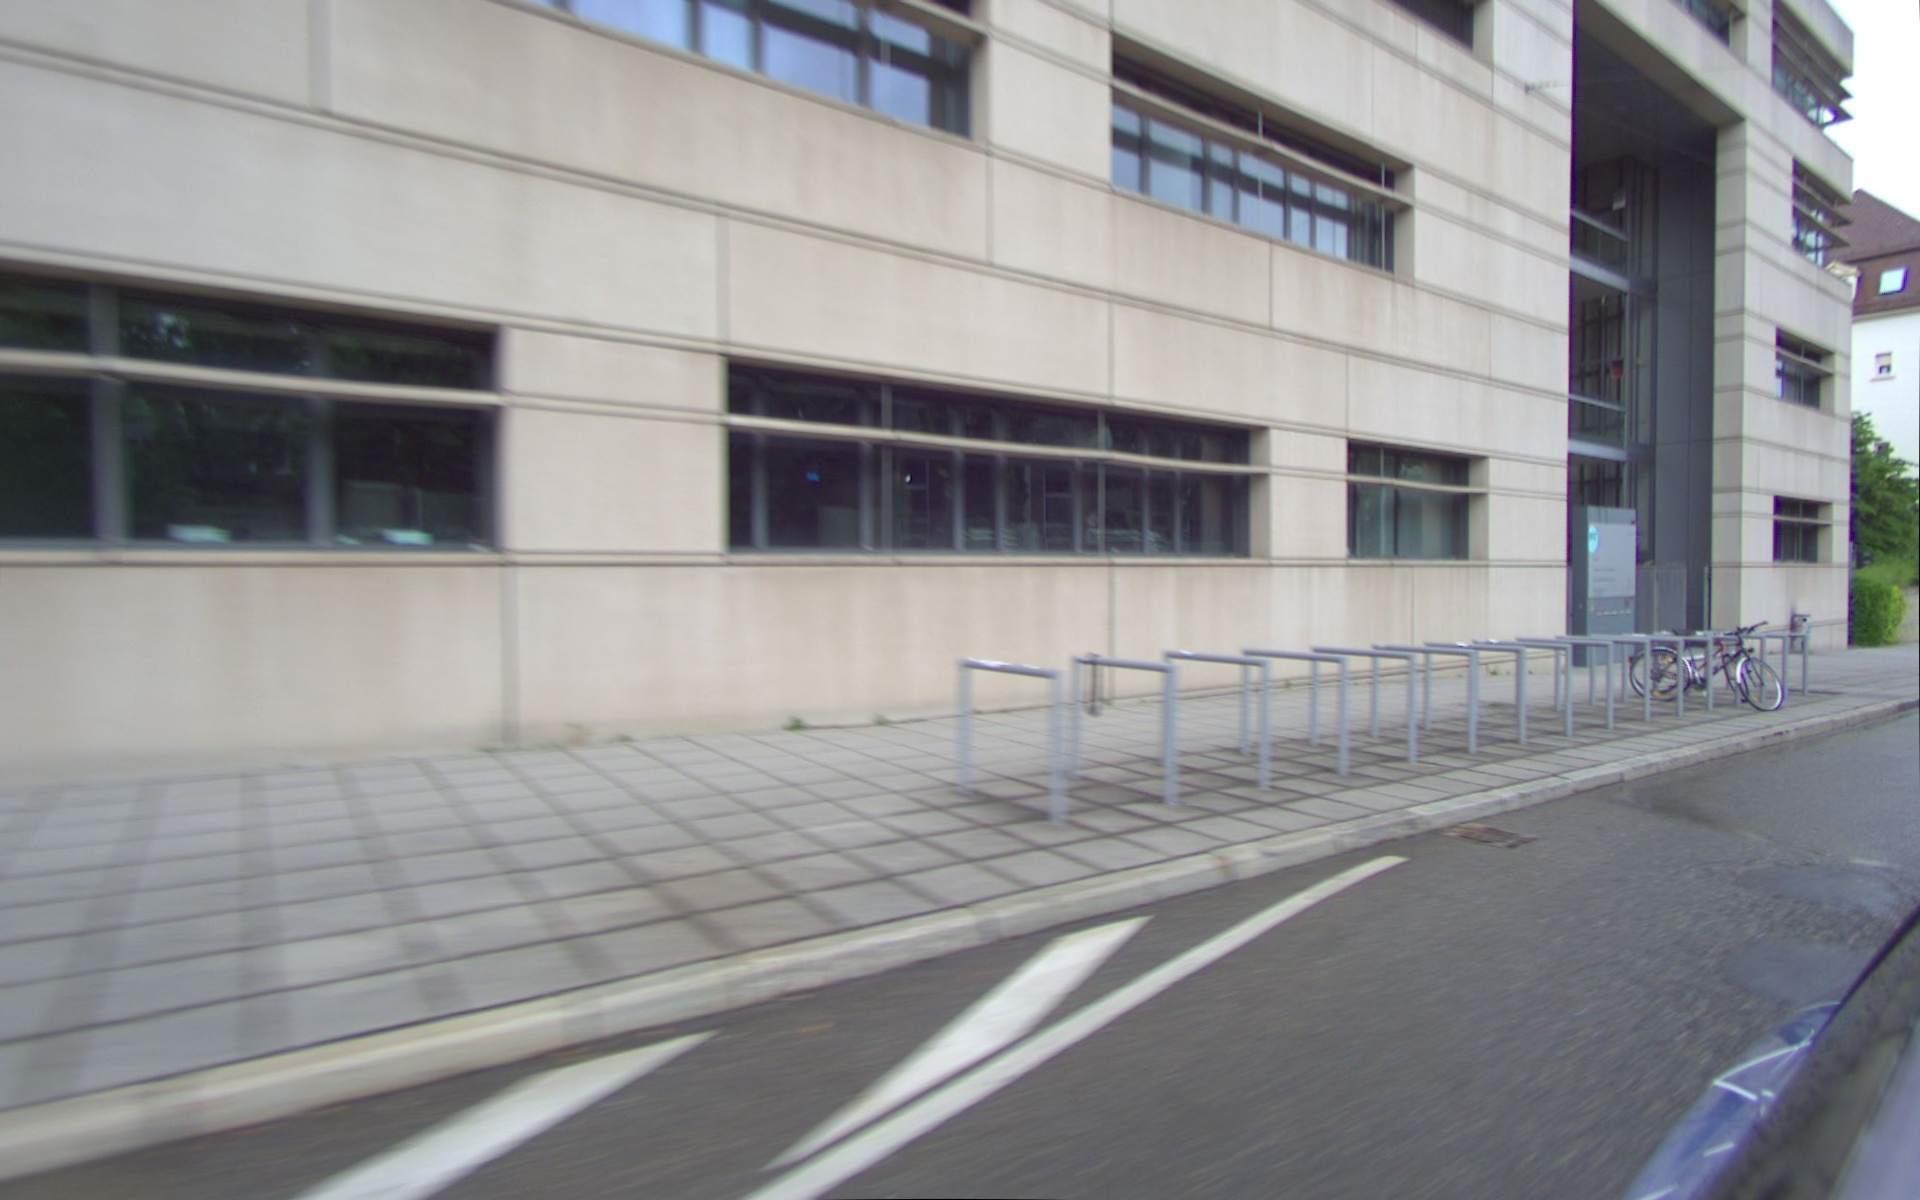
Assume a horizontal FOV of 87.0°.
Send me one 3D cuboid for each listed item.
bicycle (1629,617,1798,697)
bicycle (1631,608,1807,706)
[{"bbox_3d":[10.399,0.754,14.021,0.648,0.965,1.763,0,1,-39],"label":"bicycle"},{"bbox_3d":[9.831,0.704,13.161,0.648,1.133,1.732,0,1,-41],"label":"bicycle"}]
